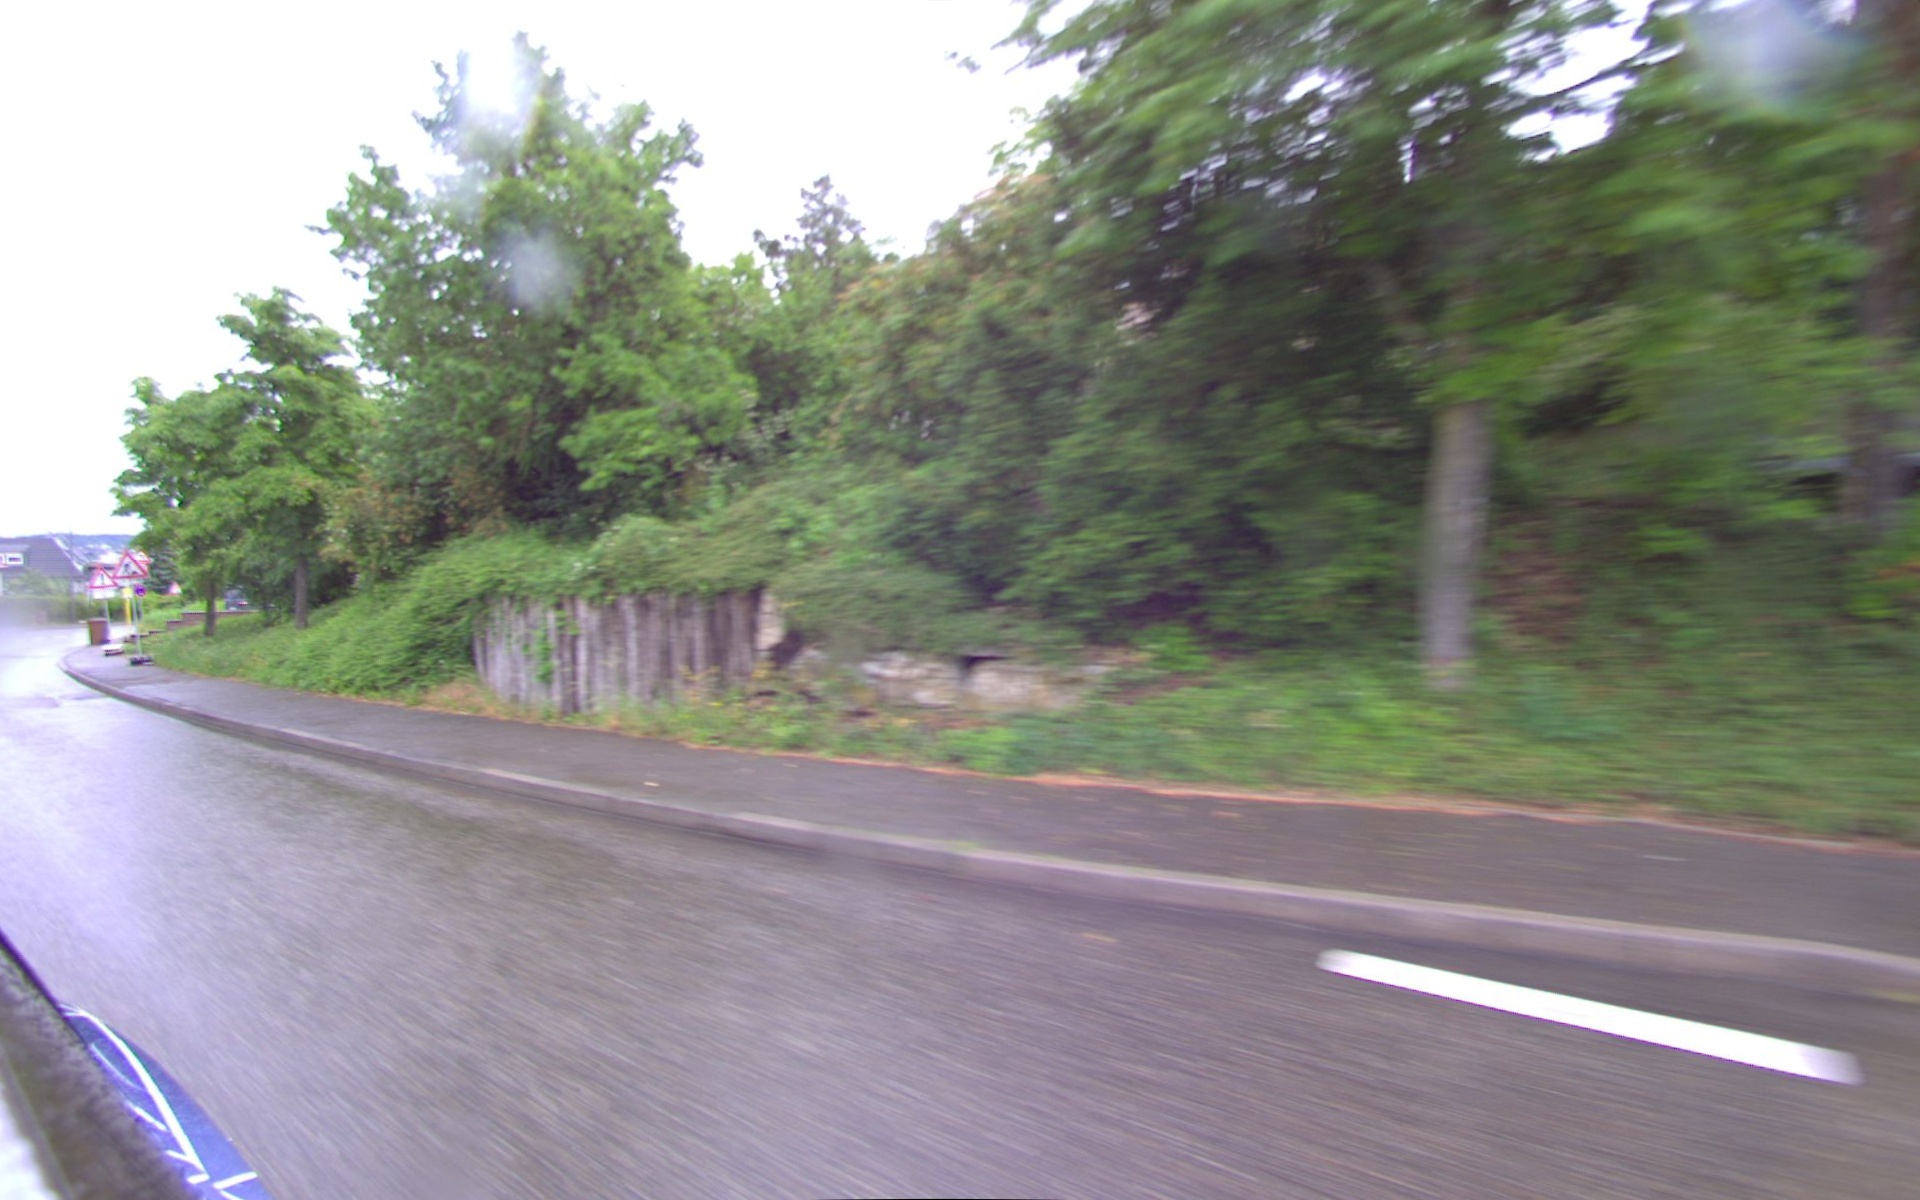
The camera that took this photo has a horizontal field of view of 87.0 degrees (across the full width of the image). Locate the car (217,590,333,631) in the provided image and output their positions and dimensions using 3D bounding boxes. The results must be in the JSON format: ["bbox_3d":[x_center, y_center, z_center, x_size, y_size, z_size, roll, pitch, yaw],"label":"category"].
[{"bbox_3d":[-30.926,0.444,45.739,1.961,1.777,3.947,-1,0,39],"label":"car"}]

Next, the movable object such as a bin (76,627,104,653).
[{"bbox_3d":[-36.343,1.653,42.272,0.868,1.038,0.804,0,-1,-42],"label":"movable object such as a bin"}]
